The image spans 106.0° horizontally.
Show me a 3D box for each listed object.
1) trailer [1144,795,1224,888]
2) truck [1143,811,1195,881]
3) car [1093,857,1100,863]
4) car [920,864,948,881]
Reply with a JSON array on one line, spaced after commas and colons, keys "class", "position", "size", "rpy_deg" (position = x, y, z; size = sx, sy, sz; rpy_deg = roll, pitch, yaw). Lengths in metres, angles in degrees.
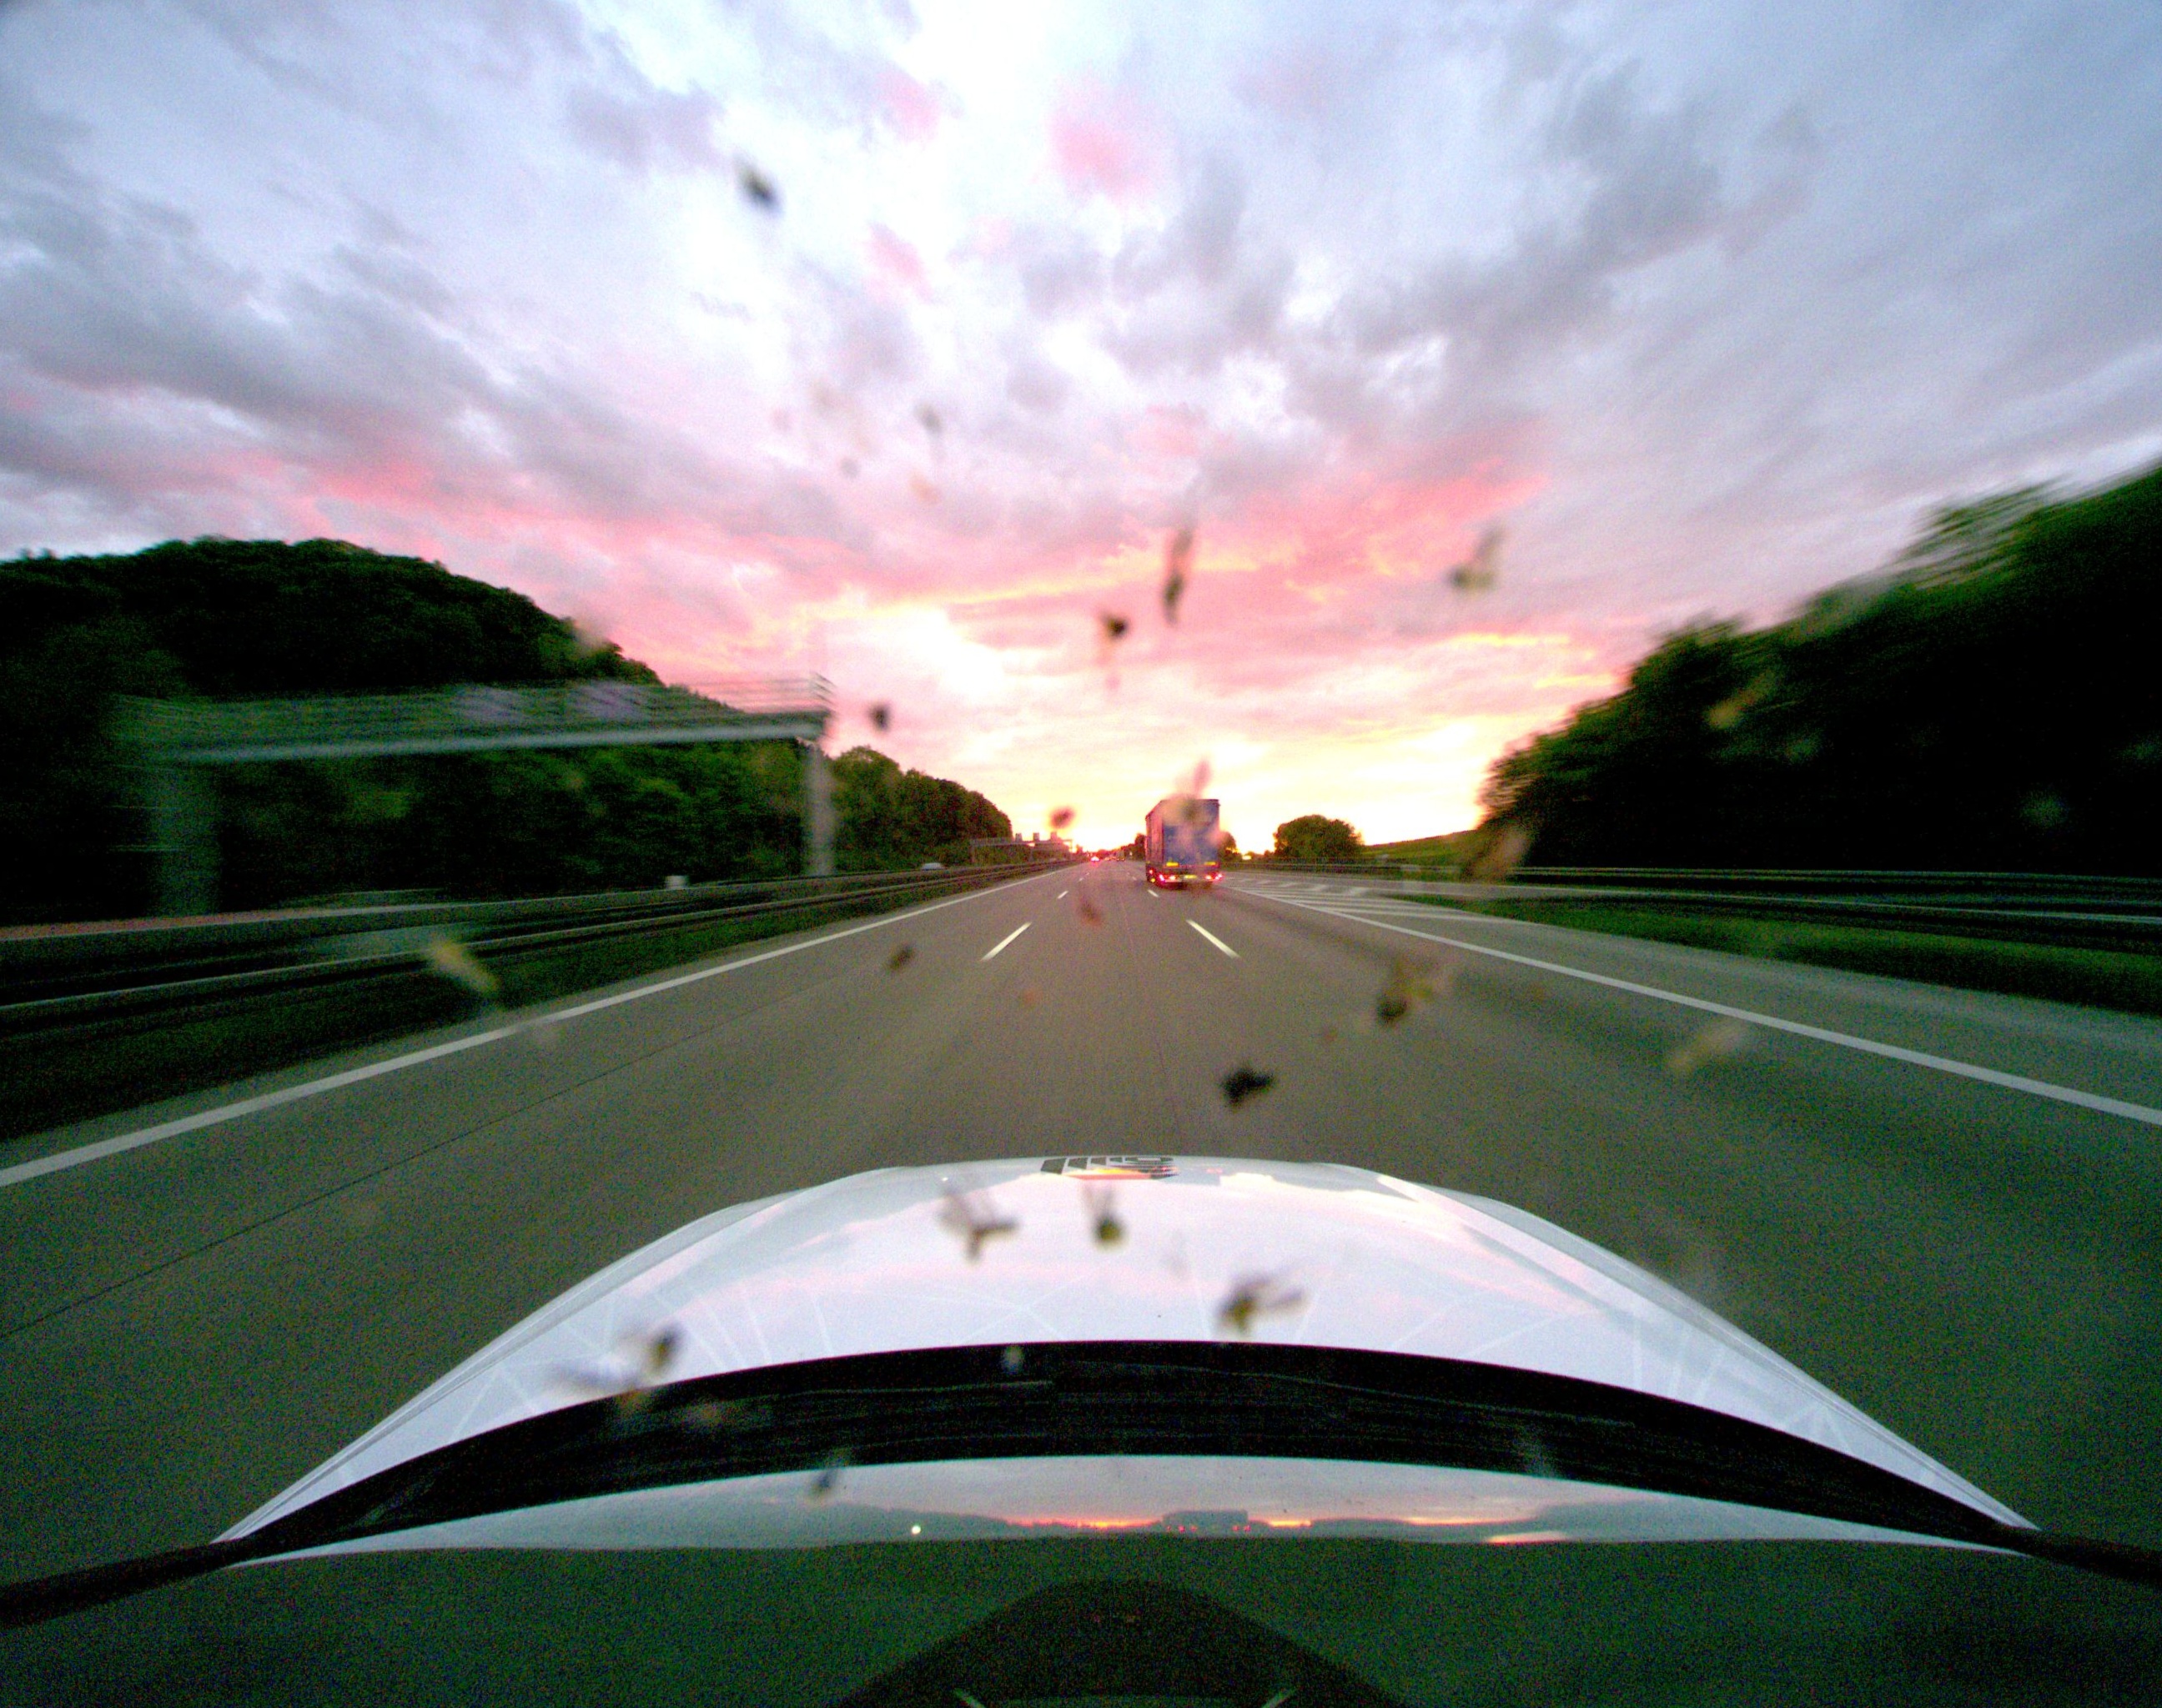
[{"class": "trailer", "position": [5.062, -0.513, 42.786], "size": [2.761, 4.086, 13.743], "rpy_deg": [-1, 0, 2]}, {"class": "truck", "position": [5.283, -0.457, 49.945], "size": [2.726, 3.996, 5.852], "rpy_deg": [-1, 0, 2]}, {"class": "car", "position": [4.861, 1.955, 258.239], "size": [2.006, 1.749, 3.904], "rpy_deg": [-5, 0, 1]}, {"class": "car", "position": [-14.190, 1.763, 78.834], "size": [1.722, 1.586, 4.648], "rpy_deg": [-1, 0, 2]}]
